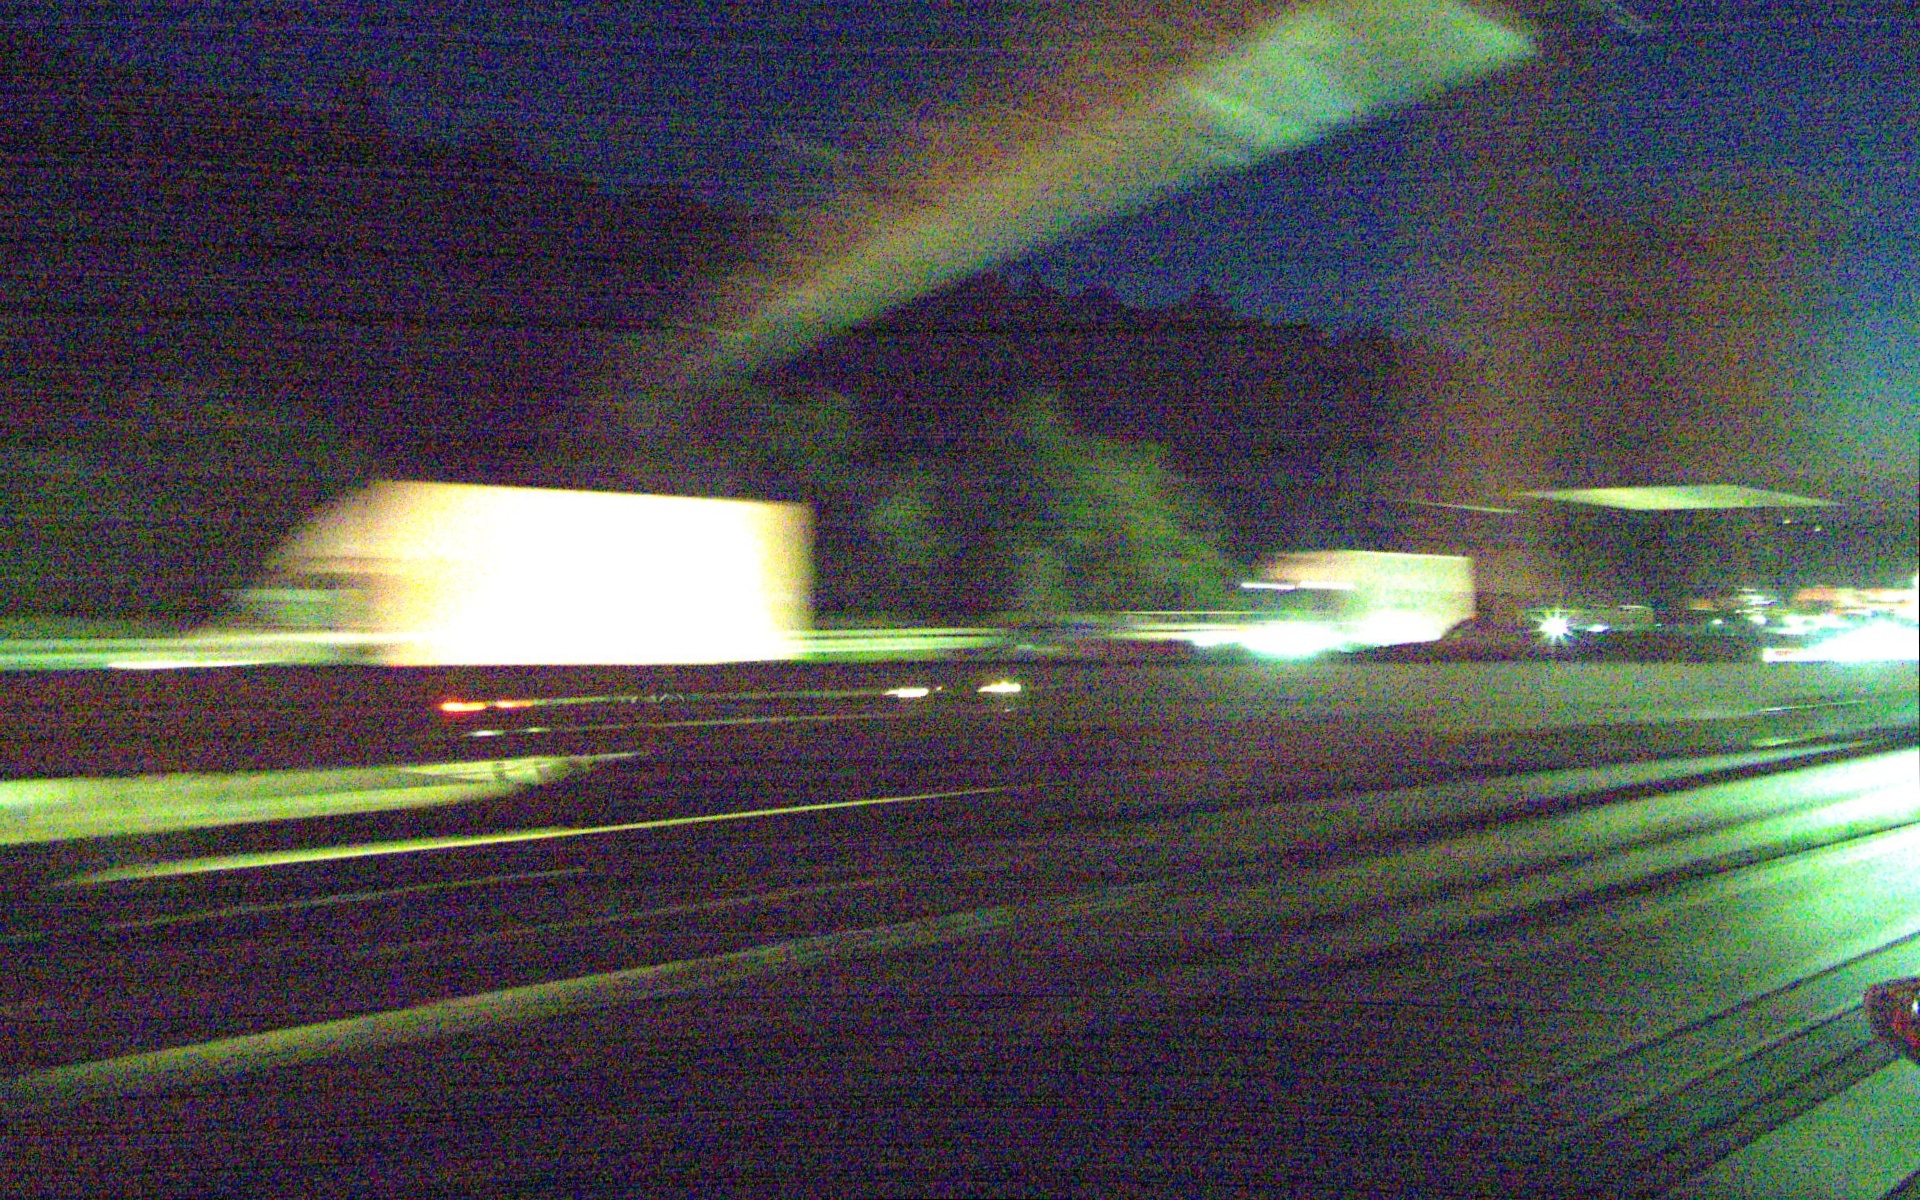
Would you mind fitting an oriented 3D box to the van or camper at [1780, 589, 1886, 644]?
[{"bbox_3d":[45.027,0.812,51.746,7.041,2.627,2.565,0,0,-35],"label":"van or camper"}]

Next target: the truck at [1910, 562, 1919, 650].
[{"bbox_3d":[49.927,0.325,50.054,6.050,4.267,2.844,1,0,-37],"label":"truck"}]

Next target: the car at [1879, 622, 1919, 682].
[{"bbox_3d":[22.177,1.160,22.611,3.094,1.273,1.410,1,0,-32],"label":"car"}]

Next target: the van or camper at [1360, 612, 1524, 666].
[{"bbox_3d":[15.236,1.174,31.661,5.156,1.570,2.211,1,0,-31],"label":"van or camper"}]

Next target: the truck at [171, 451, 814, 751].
[{"bbox_3d":[-6.059,0.131,14.145,7.640,3.303,2.362,2,-2,-33],"label":"truck"}]

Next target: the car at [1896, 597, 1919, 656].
[{"bbox_3d":[33.302,0.965,33.849,4.071,1.875,1.665,2,2,-35],"label":"car"}]

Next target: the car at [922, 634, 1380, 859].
[{"bbox_3d":[1.785,1.130,9.067,3.953,1.587,1.672,1,-1,-30],"label":"car"}]

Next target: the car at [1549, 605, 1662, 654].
[{"bbox_3d":[23.636,1.095,36.751,4.688,1.675,1.798,2,-1,-35],"label":"car"}]

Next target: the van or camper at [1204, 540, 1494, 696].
[{"bbox_3d":[8.813,0.383,22.429,7.042,3.043,2.211,1,0,-31],"label":"van or camper"}]

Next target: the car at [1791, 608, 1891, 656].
[{"bbox_3d":[33.955,1.182,38.661,5.031,1.699,1.872,1,0,-37],"label":"car"}]

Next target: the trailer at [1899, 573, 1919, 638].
[{"bbox_3d":[68.135,0.379,69.241,13.161,4.227,2.819,1,-2,-38],"label":"trailer"}]

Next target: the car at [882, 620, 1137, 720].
[{"bbox_3d":[0.931,1.173,17.831,4.389,1.560,1.632,1,-1,-32],"label":"car"}]

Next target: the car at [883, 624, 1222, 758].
[{"bbox_3d":[1.281,1.101,13.234,4.311,1.502,1.633,1,-1,-30],"label":"car"}]

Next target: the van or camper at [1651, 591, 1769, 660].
[{"bbox_3d":[31.338,0.994,41.899,6.549,2.692,1.981,0,0,-35],"label":"van or camper"}]

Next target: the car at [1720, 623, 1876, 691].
[{"bbox_3d":[20.018,1.301,23.991,3.438,1.483,1.692,1,0,-28],"label":"car"}]

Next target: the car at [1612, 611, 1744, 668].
[{"bbox_3d":[22.742,1.253,31.774,4.688,1.675,1.914,2,-1,-35],"label":"car"}]

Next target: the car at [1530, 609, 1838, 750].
[{"bbox_3d":[10.534,1.051,14.524,4.809,1.764,1.799,1,-1,-30],"label":"car"}]

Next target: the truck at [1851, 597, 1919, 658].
[{"bbox_3d":[40.128,1.134,43.051,5.004,2.491,1.979,1,0,-38],"label":"truck"}]

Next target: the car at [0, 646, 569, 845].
[{"bbox_3d":[-5.765,1.123,8.821,4.171,1.353,1.526,1,-1,-31],"label":"car"}]

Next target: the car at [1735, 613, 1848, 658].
[{"bbox_3d":[28.540,1.194,34.442,4.305,1.406,1.885,-1,-2,-35],"label":"car"}]

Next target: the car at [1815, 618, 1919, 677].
[{"bbox_3d":[26.708,1.323,28.991,4.801,1.551,1.698,1,0,-31],"label":"car"}]

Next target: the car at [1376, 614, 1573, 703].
[{"bbox_3d":[10.040,1.096,19.533,3.956,1.560,1.632,1,-1,-32],"label":"car"}]
